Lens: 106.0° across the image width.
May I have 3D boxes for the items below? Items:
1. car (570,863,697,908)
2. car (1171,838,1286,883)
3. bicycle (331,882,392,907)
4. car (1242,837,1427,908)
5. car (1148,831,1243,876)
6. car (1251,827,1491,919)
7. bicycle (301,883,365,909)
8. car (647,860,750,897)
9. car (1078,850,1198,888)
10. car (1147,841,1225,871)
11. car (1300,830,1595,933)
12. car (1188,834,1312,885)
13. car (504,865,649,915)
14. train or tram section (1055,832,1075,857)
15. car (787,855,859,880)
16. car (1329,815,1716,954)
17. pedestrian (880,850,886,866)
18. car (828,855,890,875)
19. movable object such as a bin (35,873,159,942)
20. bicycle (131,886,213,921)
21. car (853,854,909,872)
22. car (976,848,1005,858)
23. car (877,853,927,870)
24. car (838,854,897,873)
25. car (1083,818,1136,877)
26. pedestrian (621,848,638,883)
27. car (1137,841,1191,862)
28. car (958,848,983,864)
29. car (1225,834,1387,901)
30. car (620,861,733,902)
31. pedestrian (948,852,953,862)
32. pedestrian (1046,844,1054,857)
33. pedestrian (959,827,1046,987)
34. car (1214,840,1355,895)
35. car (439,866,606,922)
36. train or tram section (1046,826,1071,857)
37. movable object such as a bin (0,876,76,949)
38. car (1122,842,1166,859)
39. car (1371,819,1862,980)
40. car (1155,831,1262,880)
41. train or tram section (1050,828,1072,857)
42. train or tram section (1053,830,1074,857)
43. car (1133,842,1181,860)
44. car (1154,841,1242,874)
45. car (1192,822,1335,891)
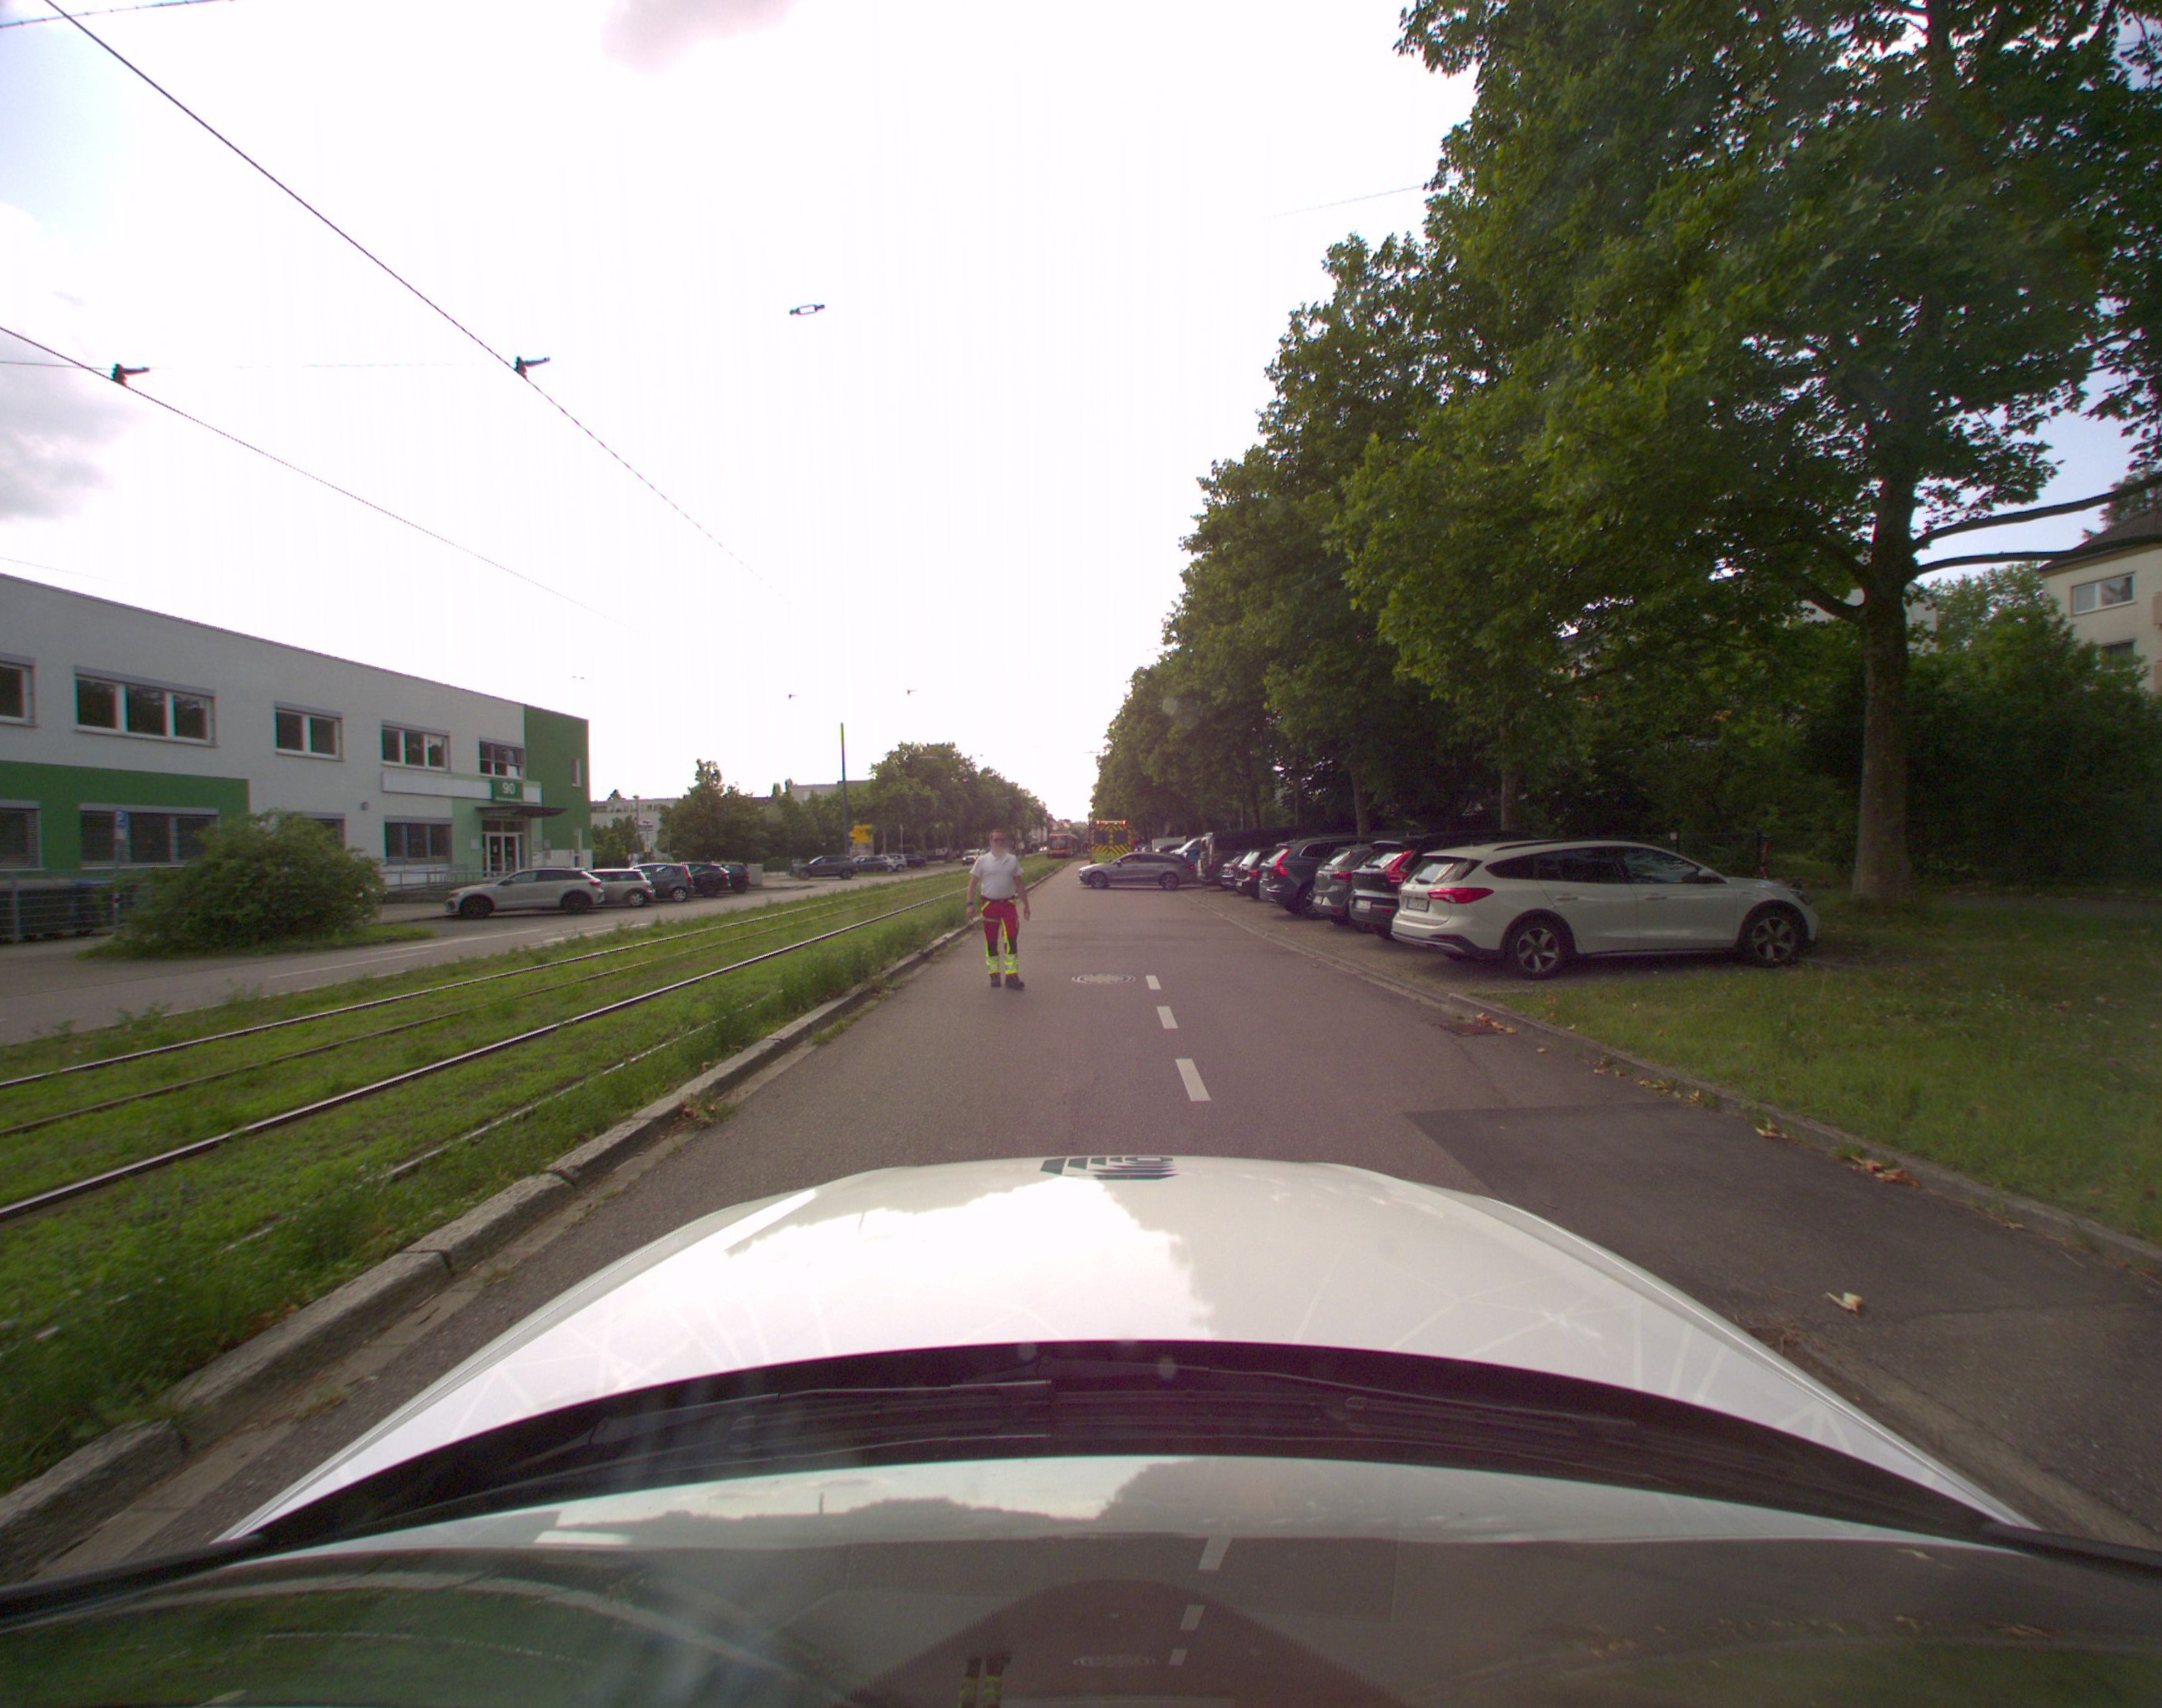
[{"bbox_3d":[-17.644,1.208,32.284,4.246,1.482,1.866,-3,1,-28],"label":"car"},{"bbox_3d":[6.321,0.264,35.137,4.536,1.660,1.853,-3,0,-4],"label":"car"},{"bbox_3d":[-26.253,1.462,29.724,1.851,0.899,0.459,0,-1,1],"label":"bicycle"},{"bbox_3d":[6.117,0.425,19.990,3.952,1.494,1.756,-3,0,0],"label":"car"},{"bbox_3d":[5.891,-0.030,42.274,4.535,2.043,1.854,-3,0,-3],"label":"car"},{"bbox_3d":[5.933,0.376,17.061,4.363,1.639,1.757,-3,0,2],"label":"car"},{"bbox_3d":[-26.326,1.465,28.668,1.851,0.899,0.459,0,-1,1],"label":"bicycle"},{"bbox_3d":[-18.002,1.105,38.336,4.246,1.482,1.866,-3,1,-28],"label":"car"},{"bbox_3d":[2.223,0.540,31.485,4.425,1.385,1.772,0,0,11],"label":"car"},{"bbox_3d":[6.494,0.111,50.899,4.535,1.608,1.854,-3,0,-3],"label":"car"},{"bbox_3d":[6.294,0.447,14.367,4.363,1.501,1.757,-3,1,2],"label":"car"},{"bbox_3d":[6.713,0.197,32.598,4.530,1.766,1.856,-3,0,0],"label":"car"},{"bbox_3d":[-17.929,1.234,29.201,4.246,1.482,1.866,-3,1,-28],"label":"car"},{"bbox_3d":[-2.362,-1.351,123.219,2.503,3.584,7.445,-3,0,1],"label":"train or tram section"},{"bbox_3d":[-16.743,0.856,52.839,4.240,1.482,1.868,-1,0,-24],"label":"car"},{"bbox_3d":[6.247,0.390,11.863,4.648,1.626,1.846,-3,1,-3],"label":"car"},{"bbox_3d":[-21.230,0.413,87.364,0.464,1.676,0.603,-2,0,-1],"label":"pedestrian"},{"bbox_3d":[-17.116,0.848,62.970,4.253,1.482,1.863,-1,0,-35],"label":"car"},{"bbox_3d":[-23.774,1.265,19.725,1.001,1.519,1.606,0,1,3],"label":"movable object such as a bin"},{"bbox_3d":[-26.331,1.439,23.602,1.851,0.986,0.459,0,-1,1],"label":"bicycle"},{"bbox_3d":[-16.908,0.739,68.911,4.253,1.482,1.863,-1,0,-35],"label":"car"},{"bbox_3d":[-15.709,-0.142,141.658,4.650,1.633,1.862,-2,1,-38],"label":"car"},{"bbox_3d":[-16.894,0.714,77.118,4.256,1.482,1.862,-1,0,-39],"label":"car"},{"bbox_3d":[-17.228,0.766,65.899,4.253,1.482,1.863,-1,0,-35],"label":"car"},{"bbox_3d":[1.574,-0.345,44.347,2.631,2.966,6.304,1,0,3],"label":"car"},{"bbox_3d":[-24.176,0.607,43.619,0.544,1.828,0.509,-2,0,-1],"label":"pedestrian"},{"bbox_3d":[7.388,-0.230,72.454,4.535,1.608,1.854,-3,0,-3],"label":"car"},{"bbox_3d":[-11.853,0.215,87.474,1.987,1.557,4.370,-3,1,0],"label":"car"},{"bbox_3d":[6.226,0.344,22.708,3.965,1.605,1.750,-3,0,-10],"label":"car"},{"bbox_3d":[-17.501,1.149,35.361,4.246,1.482,1.866,-3,1,-28],"label":"car"},{"bbox_3d":[-18.758,0.399,117.259,0.417,1.414,0.470,-2,0,26],"label":"pedestrian"},{"bbox_3d":[-3.640,-0.396,96.264,0.878,1.525,0.751,0,-1,0],"label":"pedestrian"},{"bbox_3d":[-0.889,0.554,9.098,0.805,1.686,0.846,-1,0,-16],"label":"pedestrian"},{"bbox_3d":[6.328,0.405,25.571,3.952,1.494,1.756,-3,0,0],"label":"car"},{"bbox_3d":[-17.876,1.219,26.290,4.251,1.482,1.864,-3,1,-33],"label":"car"},{"bbox_3d":[-2.725,-1.467,100.898,2.503,3.584,7.445,-3,0,1],"label":"train or tram section"},{"bbox_3d":[-23.857,1.286,18.028,1.001,1.519,1.713,0,1,3],"label":"movable object such as a bin"},{"bbox_3d":[6.985,-0.395,90.549,4.535,1.608,1.854,-3,0,-3],"label":"car"},{"bbox_3d":[6.101,0.464,9.635,4.648,1.473,1.846,-3,1,-3],"label":"car"},{"bbox_3d":[5.843,0.068,37.679,4.535,2.000,1.854,-3,0,-3],"label":"car"},{"bbox_3d":[-2.612,-1.429,108.331,2.503,3.584,7.445,-3,0,1],"label":"train or tram section"},{"bbox_3d":[-2.491,-1.390,115.776,2.503,3.584,7.445,-3,0,1],"label":"train or tram section"},{"bbox_3d":[7.658,-0.307,82.305,4.535,1.608,1.854,-3,0,-3],"label":"car"},{"bbox_3d":[6.533,0.172,45.740,4.535,1.608,1.854,-3,0,-3],"label":"car"},{"bbox_3d":[6.340,0.070,28.616,4.530,2.123,1.856,-3,0,0],"label":"car"}]
